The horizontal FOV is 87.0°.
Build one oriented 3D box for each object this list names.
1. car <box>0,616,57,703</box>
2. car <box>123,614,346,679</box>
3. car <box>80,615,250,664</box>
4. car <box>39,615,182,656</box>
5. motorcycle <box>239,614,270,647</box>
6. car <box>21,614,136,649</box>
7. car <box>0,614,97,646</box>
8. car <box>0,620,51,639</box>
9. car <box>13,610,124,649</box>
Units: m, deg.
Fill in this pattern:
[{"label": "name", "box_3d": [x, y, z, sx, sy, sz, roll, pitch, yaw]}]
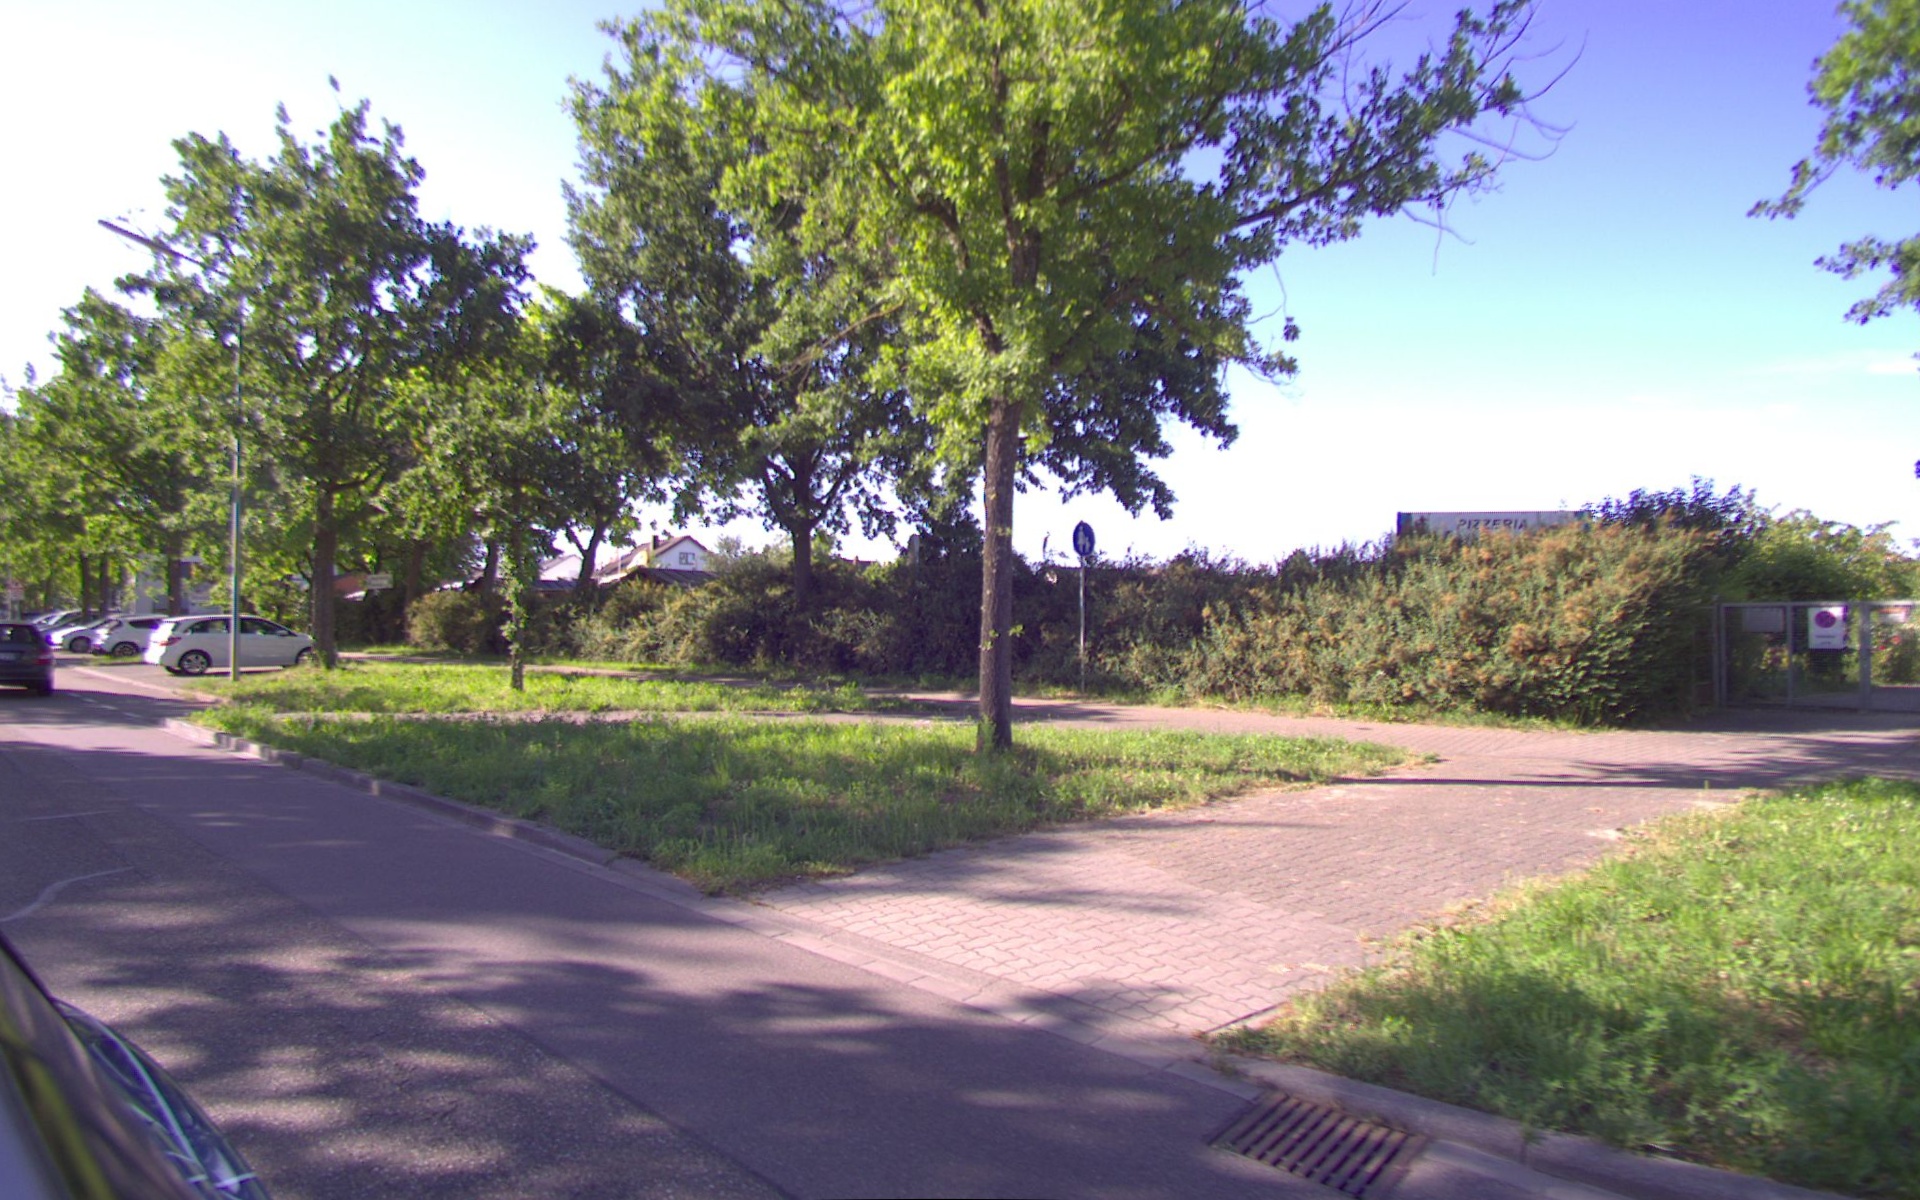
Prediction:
[{"label": "car", "box_3d": [-18.821, 1.090, 19.351, 4.493, 1.540, 1.747, -2, -4, 41]}, {"label": "car", "box_3d": [-19.896, 1.215, 27.923, 2.189, 1.570, 4.582, -1, -1, 38]}, {"label": "car", "box_3d": [-27.651, 1.341, 35.297, 2.087, 1.522, 4.366, -1, -1, 41]}, {"label": "car", "box_3d": [-35.323, 1.442, 42.145, 2.089, 1.568, 4.363, -1, -1, 44]}, {"label": "motorcycle", "box_3d": [-31.834, 1.372, 45.658, 1.991, 1.443, 0.729, -1, 1, 43]}, {"label": "car", "box_3d": [-42.741, 1.516, 49.125, 1.866, 1.568, 4.090, -1, -1, 44]}, {"label": "car", "box_3d": [-50.567, 1.653, 56.114, 1.877, 1.655, 4.017, -1, -1, 45]}, {"label": "car", "box_3d": [-74.540, 2.318, 79.979, 3.976, 1.490, 1.944, 2, -2, -42]}, {"label": "car", "box_3d": [-46.381, 1.478, 52.713, 1.998, 1.898, 4.182, -1, -1, 42]}]
